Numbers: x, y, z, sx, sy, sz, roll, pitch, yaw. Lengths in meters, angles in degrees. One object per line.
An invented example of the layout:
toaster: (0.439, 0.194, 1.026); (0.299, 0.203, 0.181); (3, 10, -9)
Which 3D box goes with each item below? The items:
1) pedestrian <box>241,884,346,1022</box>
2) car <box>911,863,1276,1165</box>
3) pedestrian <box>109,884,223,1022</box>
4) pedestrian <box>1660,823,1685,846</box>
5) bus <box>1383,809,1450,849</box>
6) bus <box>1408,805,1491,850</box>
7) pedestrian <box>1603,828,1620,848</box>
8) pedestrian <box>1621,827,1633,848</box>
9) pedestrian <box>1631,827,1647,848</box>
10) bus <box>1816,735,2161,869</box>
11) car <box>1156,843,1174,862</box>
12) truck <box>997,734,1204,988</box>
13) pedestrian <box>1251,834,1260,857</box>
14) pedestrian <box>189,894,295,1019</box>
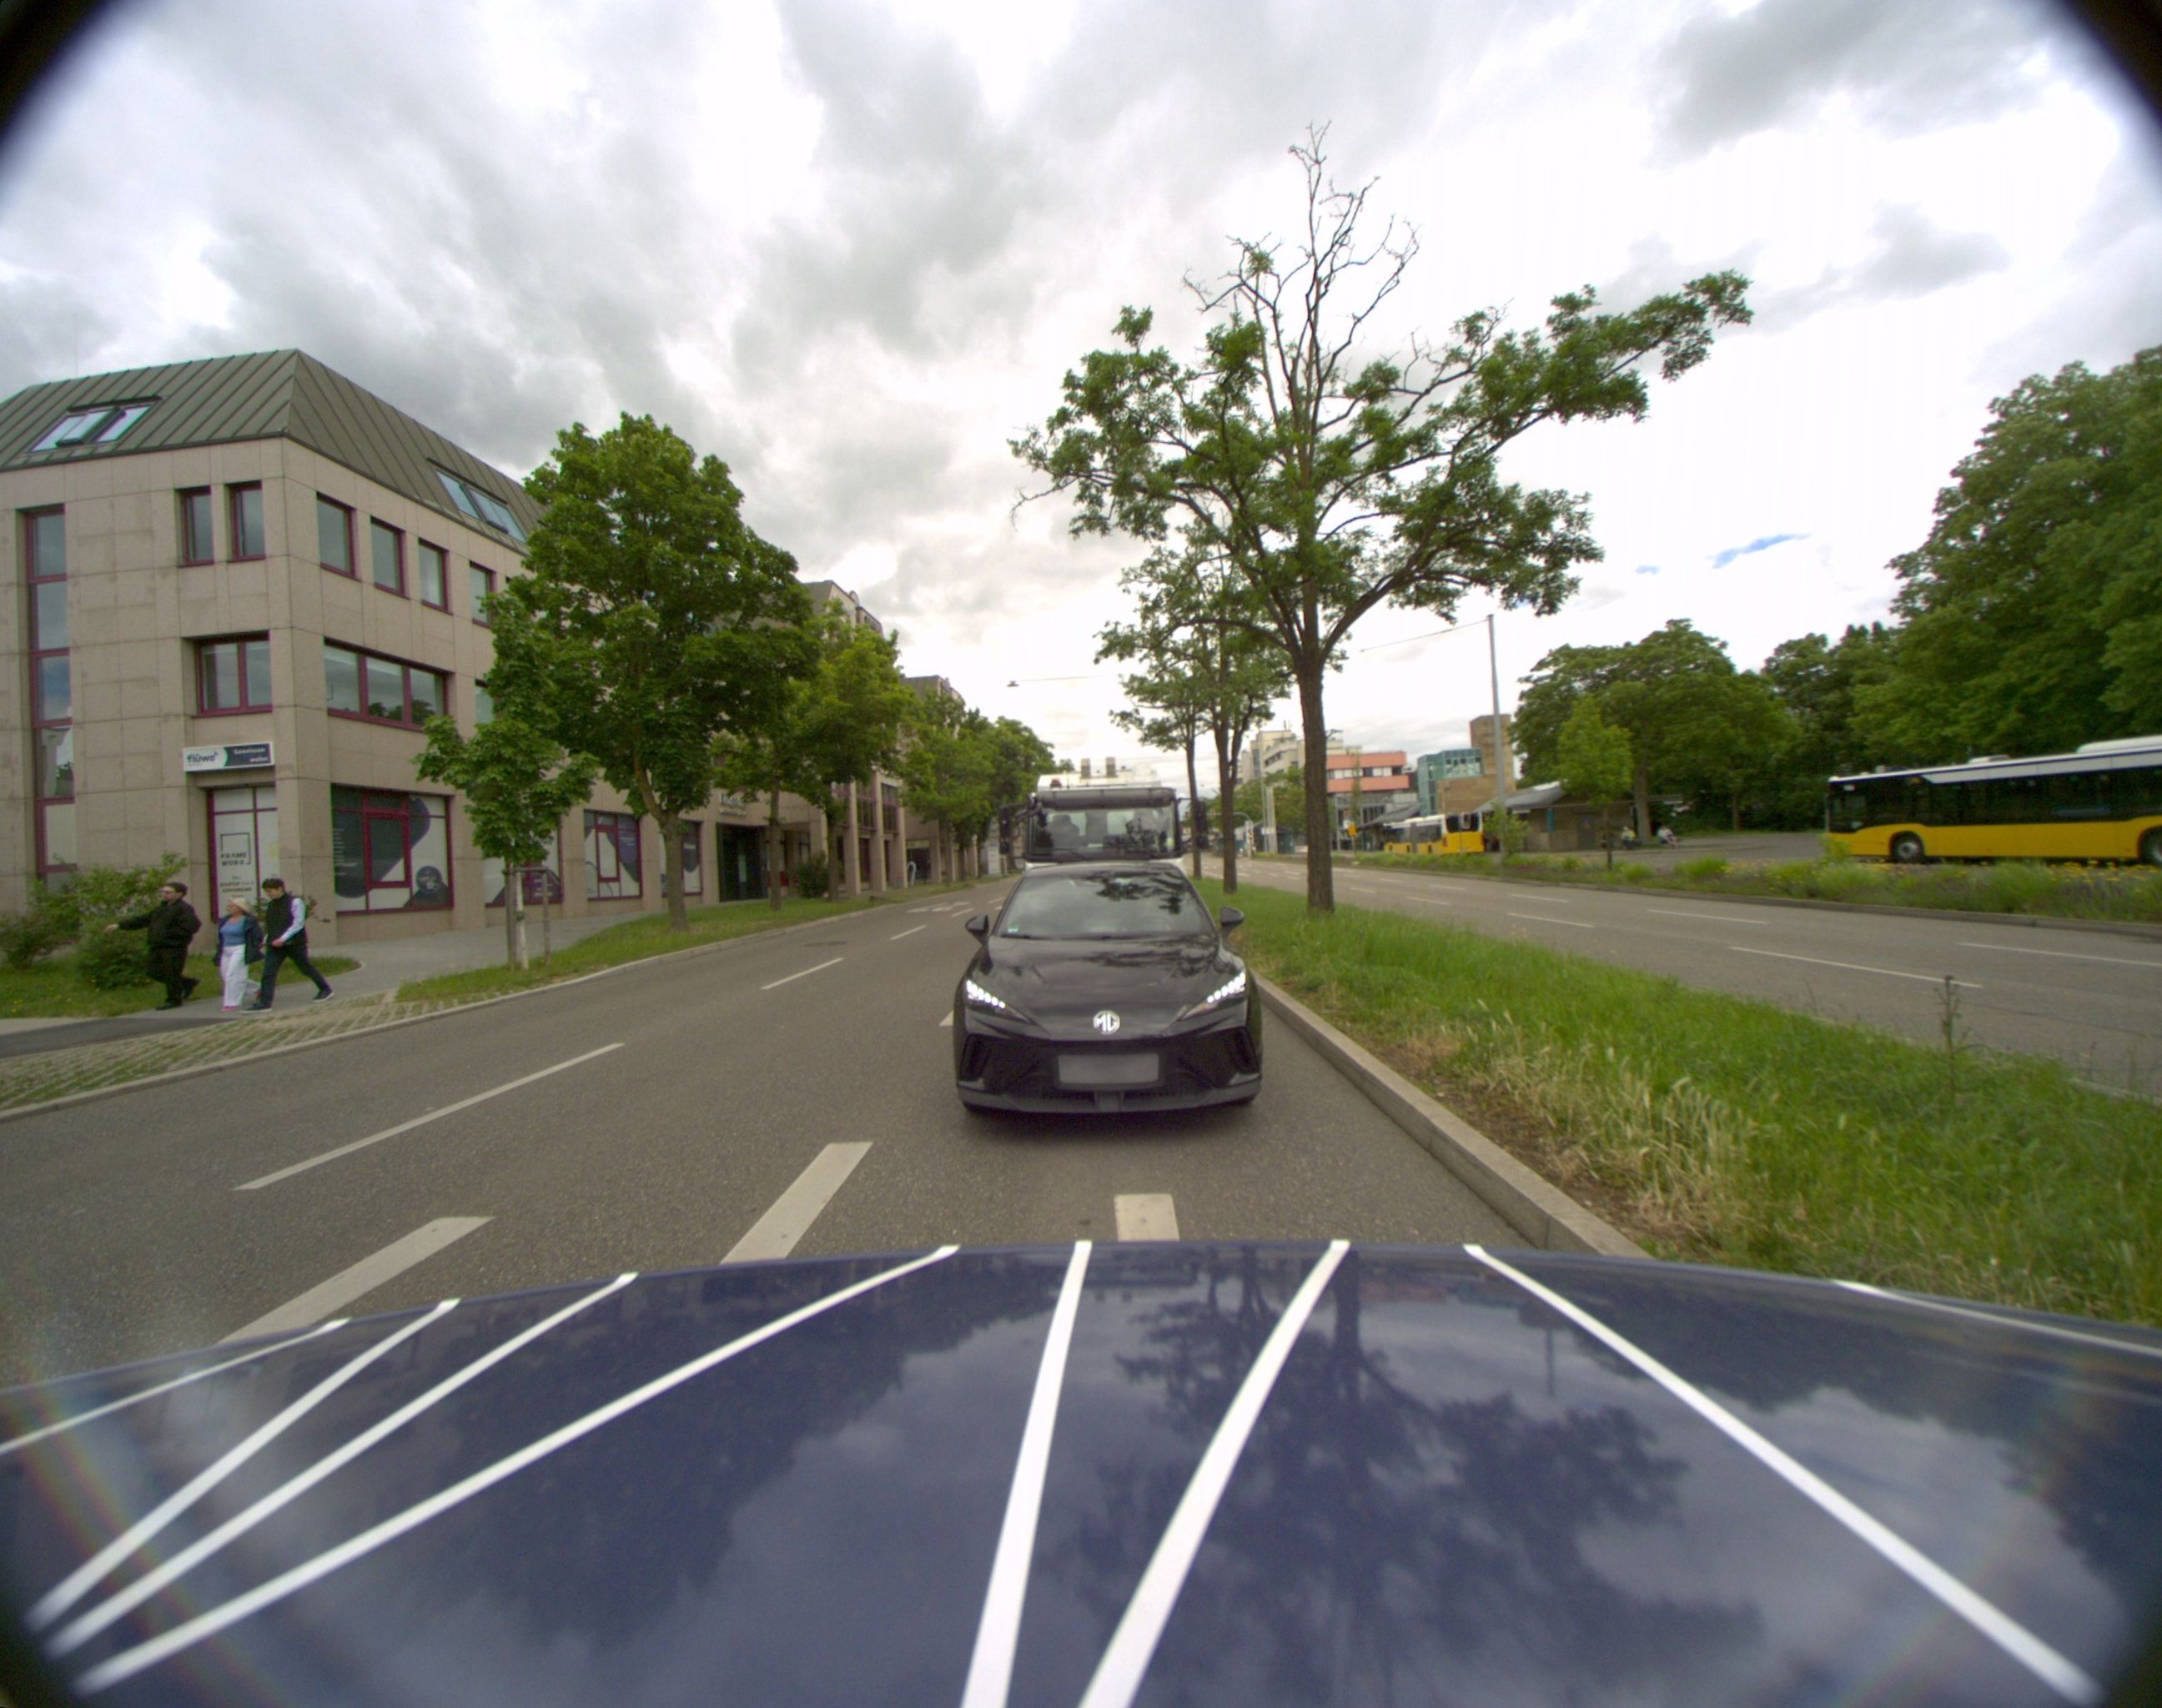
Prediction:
pedestrian: (-10.914, 1.347, 10.547); (0.642, 1.795, 0.677); (-3, 1, 1)
car: (0.094, 0.856, 5.938); (1.827, 1.430, 4.000); (-3, 0, 1)
pedestrian: (-12.619, 1.342, 10.501); (0.642, 1.795, 0.677); (-3, 1, 1)
pedestrian: (32.092, -1.055, 41.228); (0.650, 1.165, 0.925); (-2, 1, 1)
bus: (27.685, -1.958, 63.141); (2.887, 2.985, 9.182); (-3, 0, 10)
bus: (26.231, -1.802, 54.589); (2.887, 2.793, 9.182); (-3, 0, 10)
pedestrian: (30.736, -0.924, 44.055); (0.599, 1.155, 0.743); (-2, 1, 17)
pedestrian: (30.267, -0.922, 42.116); (0.367, 1.160, 0.899); (-2, 1, 26)
pedestrian: (30.696, -0.915, 41.792); (0.598, 1.155, 0.744); (-2, 1, 26)
bus: (25.919, -1.253, 20.493); (2.888, 2.985, 10.397); (-3, 0, 6)
car: (9.504, -0.221, 85.803); (1.726, 2.002, 4.001); (-3, 0, 3)
truck: (0.304, 0.086, 13.546); (2.544, 3.187, 7.368); (-3, 0, 1)
pedestrian: (21.500, -1.092, 93.634); (0.903, 2.772, 1.148); (-2, 1, 13)
pedestrian: (-11.685, 1.402, 10.604); (0.642, 1.637, 0.677); (-3, 1, 1)
